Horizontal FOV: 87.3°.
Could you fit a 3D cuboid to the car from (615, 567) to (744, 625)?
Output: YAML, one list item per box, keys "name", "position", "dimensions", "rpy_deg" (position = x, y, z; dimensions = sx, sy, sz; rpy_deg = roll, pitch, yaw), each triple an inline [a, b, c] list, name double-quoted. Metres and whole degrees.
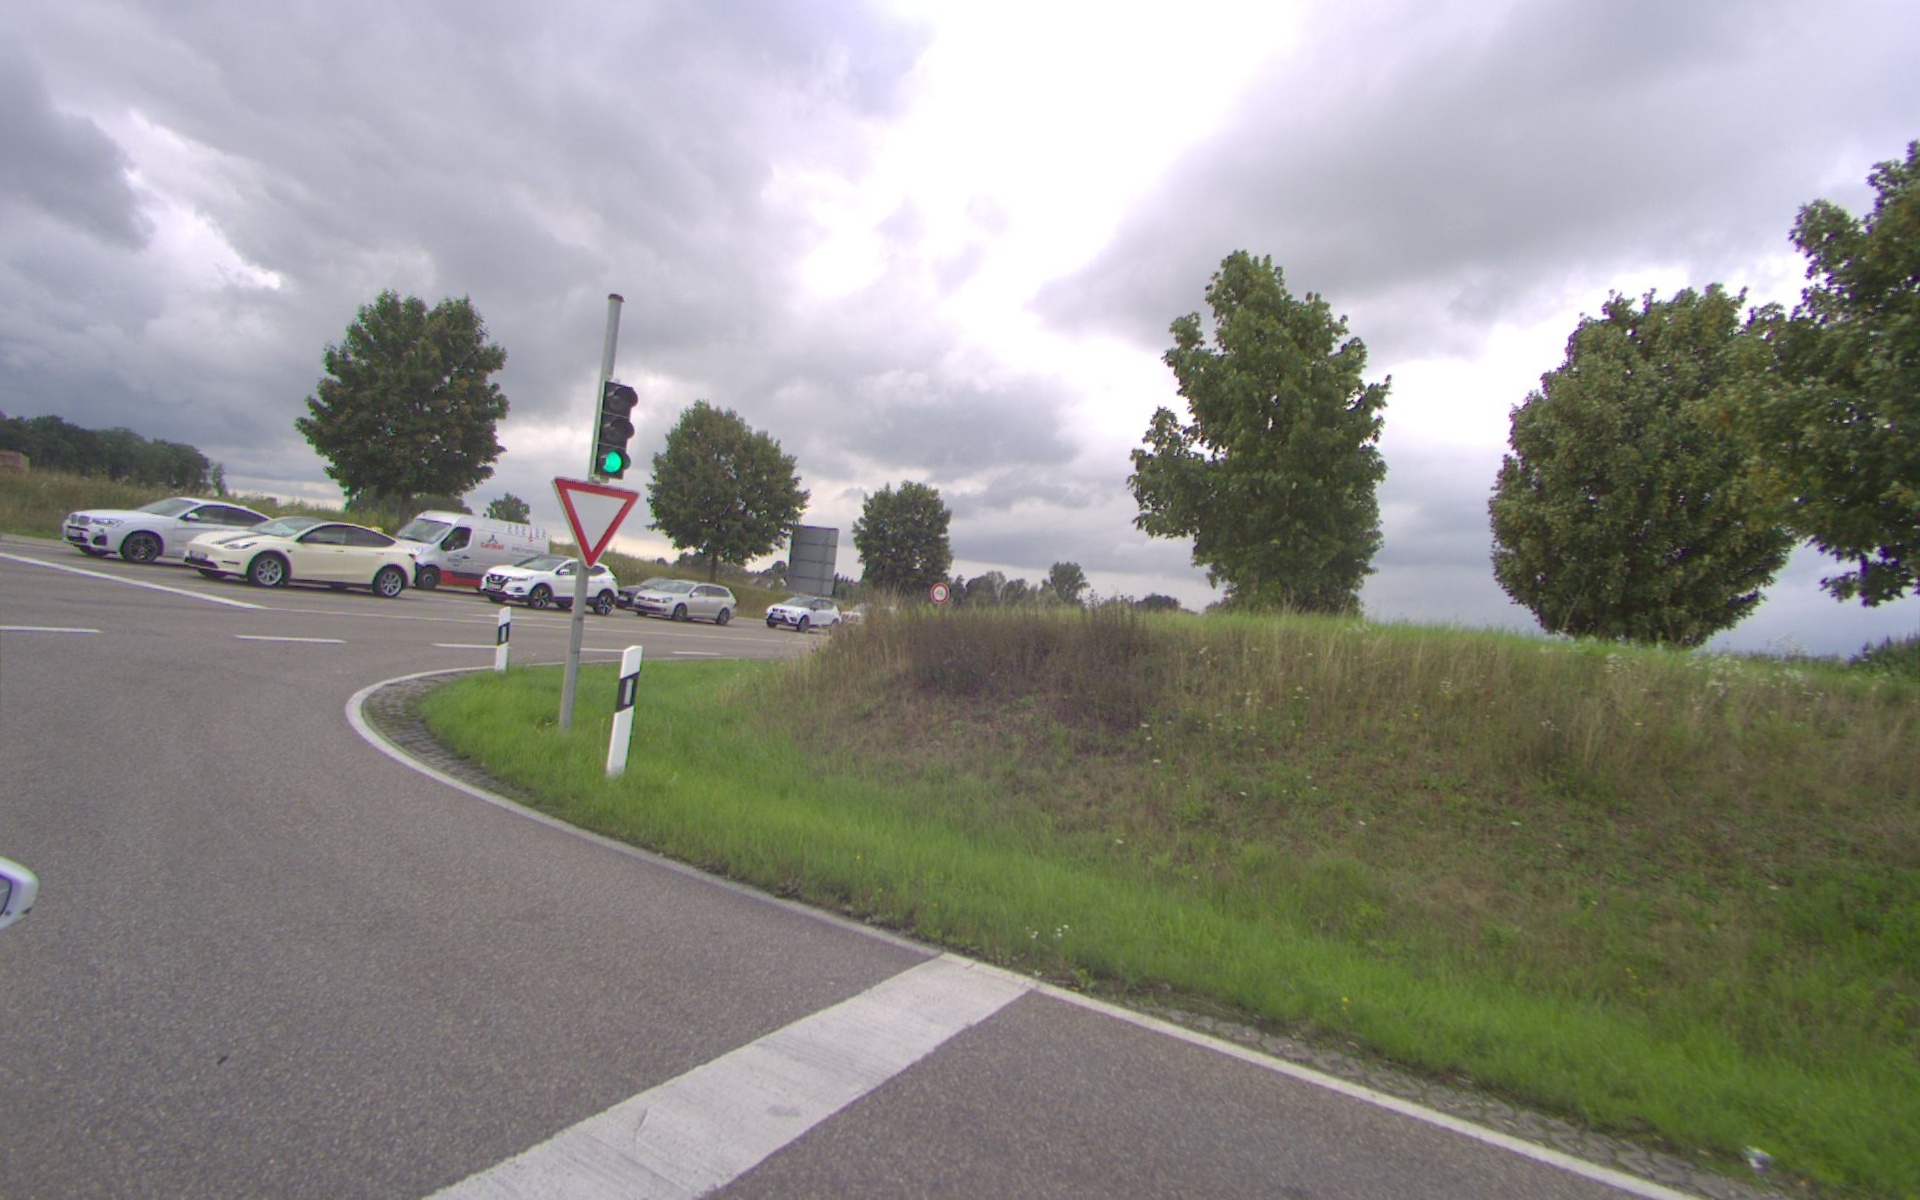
- name: "car"
  position: [-9.900, -0.091, 35.941]
  dimensions: [1.963, 1.472, 4.583]
  rpy_deg: [8, -1, 21]

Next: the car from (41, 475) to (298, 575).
- name: "car"
  position: [-18.467, -1.689, 23.768]
  dimensions: [1.963, 1.648, 4.276]
  rpy_deg: [6, -1, 21]

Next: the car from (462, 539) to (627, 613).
- name: "car"
  position: [-12.234, -0.657, 29.936]
  dimensions: [1.963, 1.648, 4.324]
  rpy_deg: [6, -1, 22]

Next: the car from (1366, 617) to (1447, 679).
- name: "car"
  position: [16.924, 1.863, 38.334]
  dimensions: [1.962, 2.037, 4.004]
  rpy_deg: [6, -2, 14]

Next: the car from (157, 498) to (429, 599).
- name: "car"
  position: [-14.797, -1.065, 22.706]
  dimensions: [1.963, 1.583, 4.750]
  rpy_deg: [6, -1, 21]

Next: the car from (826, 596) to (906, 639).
- name: "car"
  position: [-4.492, 0.899, 48.982]
  dimensions: [1.963, 1.611, 4.448]
  rpy_deg: [8, -1, 21]

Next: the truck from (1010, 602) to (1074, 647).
- name: "truck"
  position: [7.069, 2.144, 85.410]
  dimensions: [3.052, 3.146, 7.409]
  rpy_deg: [8, -1, 21]

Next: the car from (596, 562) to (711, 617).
- name: "car"
  position: [-11.928, -0.375, 39.440]
  dimensions: [1.963, 1.648, 4.276]
  rpy_deg: [6, -1, 21]

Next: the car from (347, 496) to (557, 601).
- name: "car"
  position: [-15.765, -1.507, 31.646]
  dimensions: [2.354, 2.470, 5.514]
  rpy_deg: [6, -1, 22]

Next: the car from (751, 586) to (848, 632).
- name: "car"
  position: [-6.811, 0.426, 43.263]
  dimensions: [1.963, 1.435, 4.448]
  rpy_deg: [8, -1, 22]
